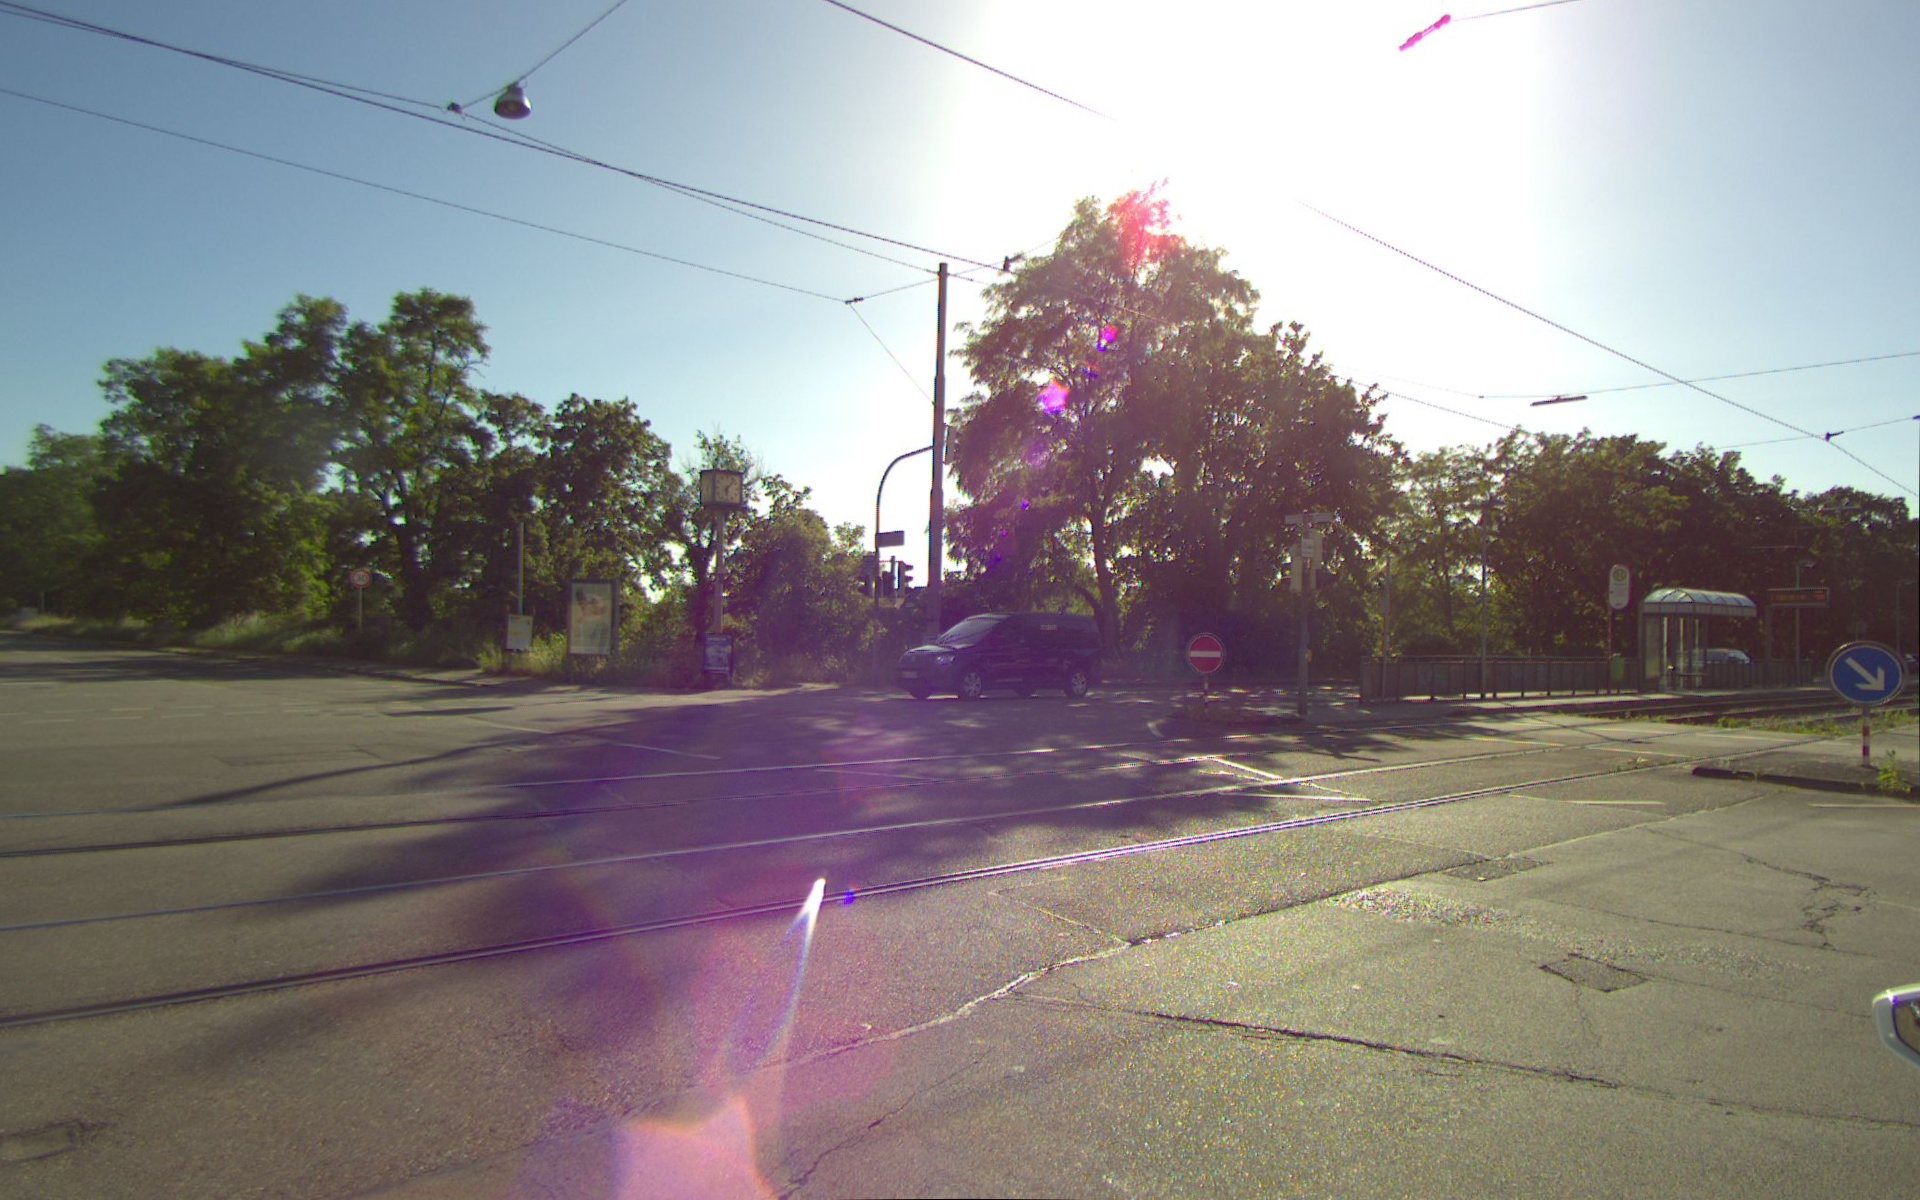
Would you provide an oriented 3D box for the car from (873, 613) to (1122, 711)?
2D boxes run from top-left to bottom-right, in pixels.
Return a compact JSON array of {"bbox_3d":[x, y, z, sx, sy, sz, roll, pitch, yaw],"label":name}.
[{"bbox_3d":[0.869,1.258,20.662,4.986,1.790,1.979,3,-2,-37],"label":"car"}]

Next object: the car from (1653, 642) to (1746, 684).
[{"bbox_3d":[28.063,2.369,38.099,3.963,1.486,1.792,2,-2,-37],"label":"car"}]

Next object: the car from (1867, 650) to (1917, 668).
[{"bbox_3d":[69.226,4.385,74.604,3.959,1.283,1.909,2,-2,-34],"label":"car"}]

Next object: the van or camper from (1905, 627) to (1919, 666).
[{"bbox_3d":[79.614,3.796,81.921,6.724,3.147,2.572,2,-2,-36],"label":"van or camper"}]
